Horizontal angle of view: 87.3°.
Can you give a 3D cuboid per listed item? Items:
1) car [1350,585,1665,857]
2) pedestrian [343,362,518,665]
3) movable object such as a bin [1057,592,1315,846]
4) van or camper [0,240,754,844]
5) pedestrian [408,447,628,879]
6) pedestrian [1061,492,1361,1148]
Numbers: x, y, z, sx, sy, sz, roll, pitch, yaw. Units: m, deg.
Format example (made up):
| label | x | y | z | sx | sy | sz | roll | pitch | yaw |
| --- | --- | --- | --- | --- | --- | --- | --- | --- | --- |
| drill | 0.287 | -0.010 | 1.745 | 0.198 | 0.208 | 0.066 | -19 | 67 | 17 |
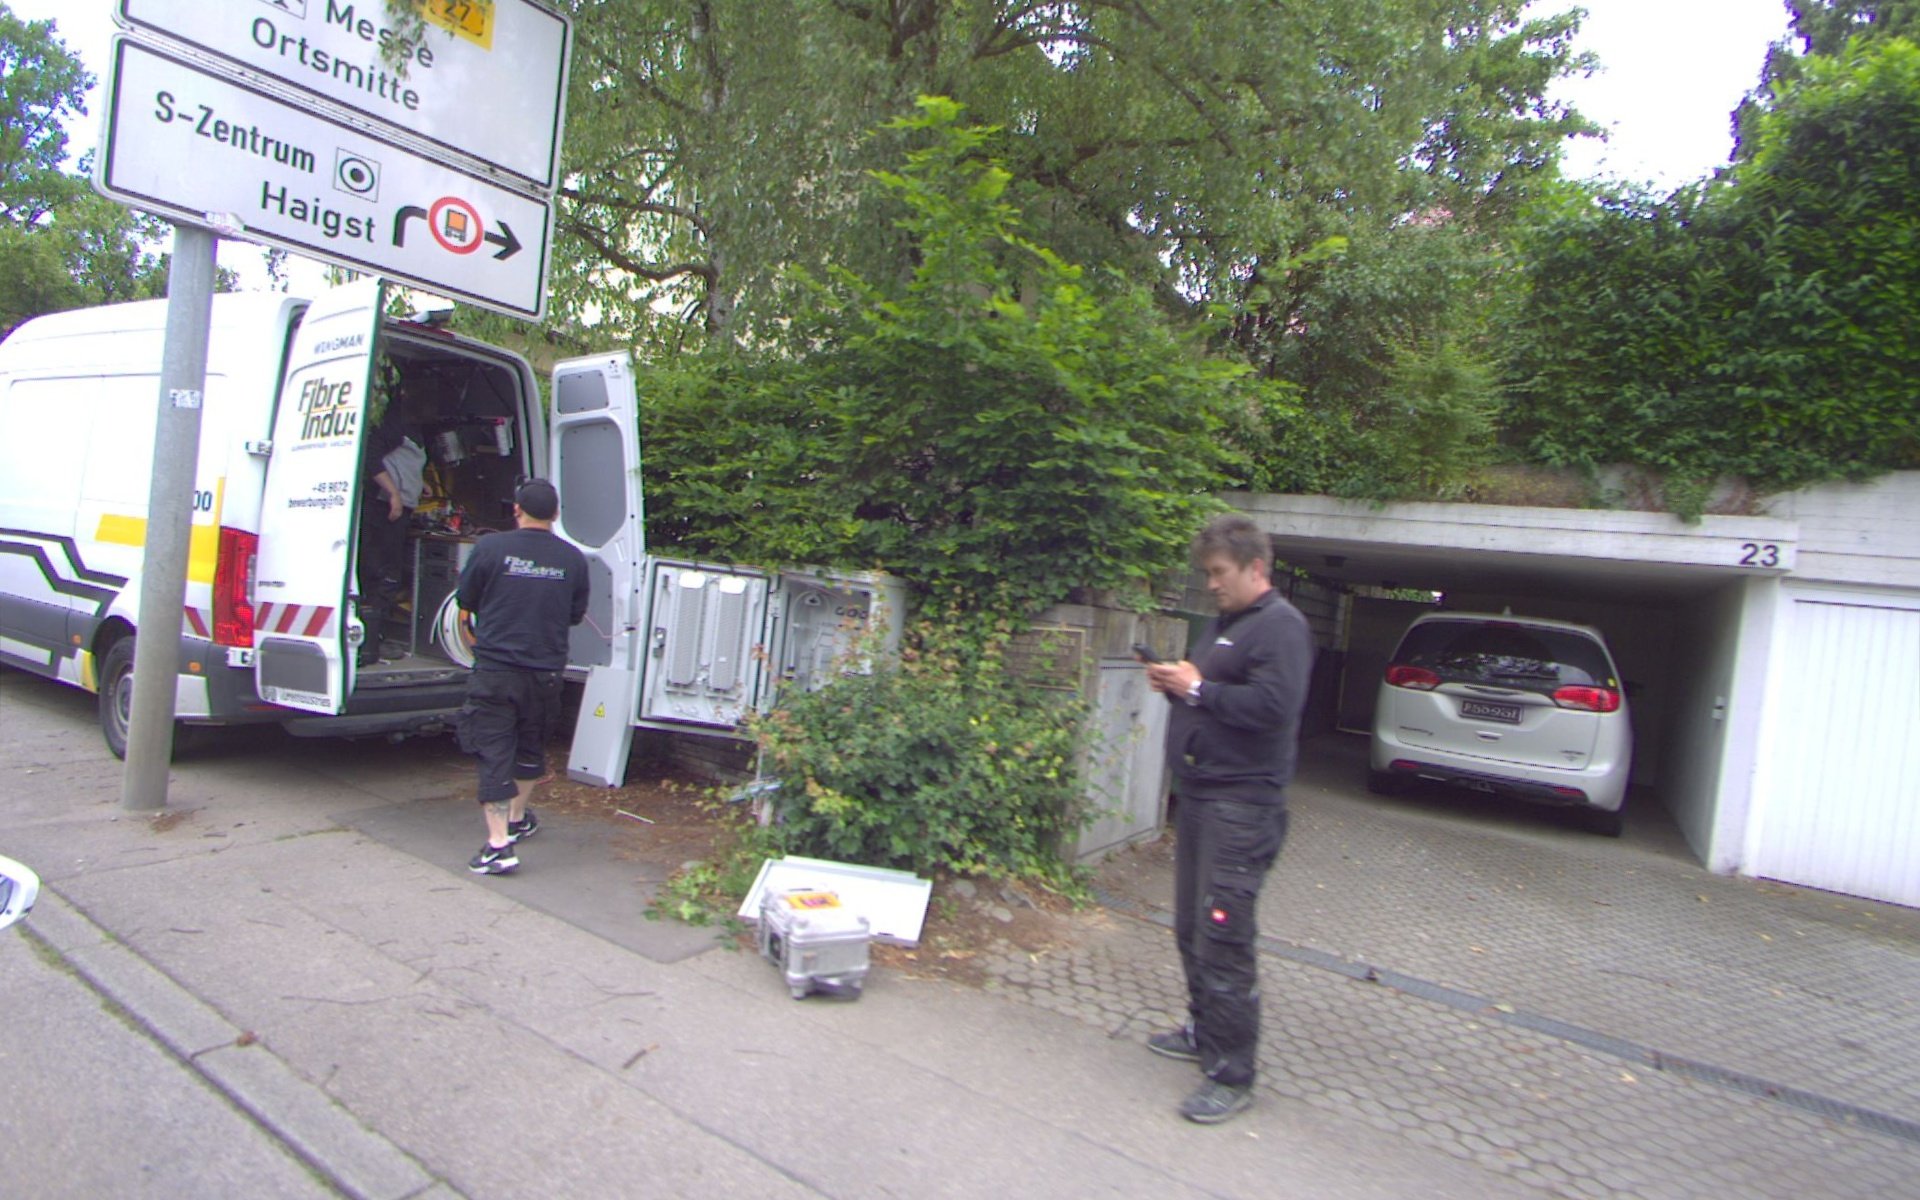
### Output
| label | x | y | z | sx | sy | sz | roll | pitch | yaw |
| --- | --- | --- | --- | --- | --- | --- | --- | --- | --- |
| car | 5.199 | 0.971 | 9.554 | 1.967 | 1.811 | 3.990 | 7 | 1 | 31 |
| pedestrian | -3.215 | -0.491 | 6.188 | 0.790 | 1.665 | 0.734 | 5 | 2 | -24 |
| movable object such as a bin | 1.654 | 0.765 | 7.226 | 1.276 | 1.482 | 1.420 | 7 | 3 | 32 |
| van or camper | -4.723 | -0.490 | 6.857 | 6.491 | 2.529 | 2.340 | 6 | 3 | 30 |
| pedestrian | -2.026 | 0.259 | 4.558 | 0.743 | 1.744 | 0.785 | 4 | 3 | -30 |
| pedestrian | 0.760 | 0.616 | 3.160 | 0.642 | 1.773 | 0.650 | 6 | 1 | 11 |
